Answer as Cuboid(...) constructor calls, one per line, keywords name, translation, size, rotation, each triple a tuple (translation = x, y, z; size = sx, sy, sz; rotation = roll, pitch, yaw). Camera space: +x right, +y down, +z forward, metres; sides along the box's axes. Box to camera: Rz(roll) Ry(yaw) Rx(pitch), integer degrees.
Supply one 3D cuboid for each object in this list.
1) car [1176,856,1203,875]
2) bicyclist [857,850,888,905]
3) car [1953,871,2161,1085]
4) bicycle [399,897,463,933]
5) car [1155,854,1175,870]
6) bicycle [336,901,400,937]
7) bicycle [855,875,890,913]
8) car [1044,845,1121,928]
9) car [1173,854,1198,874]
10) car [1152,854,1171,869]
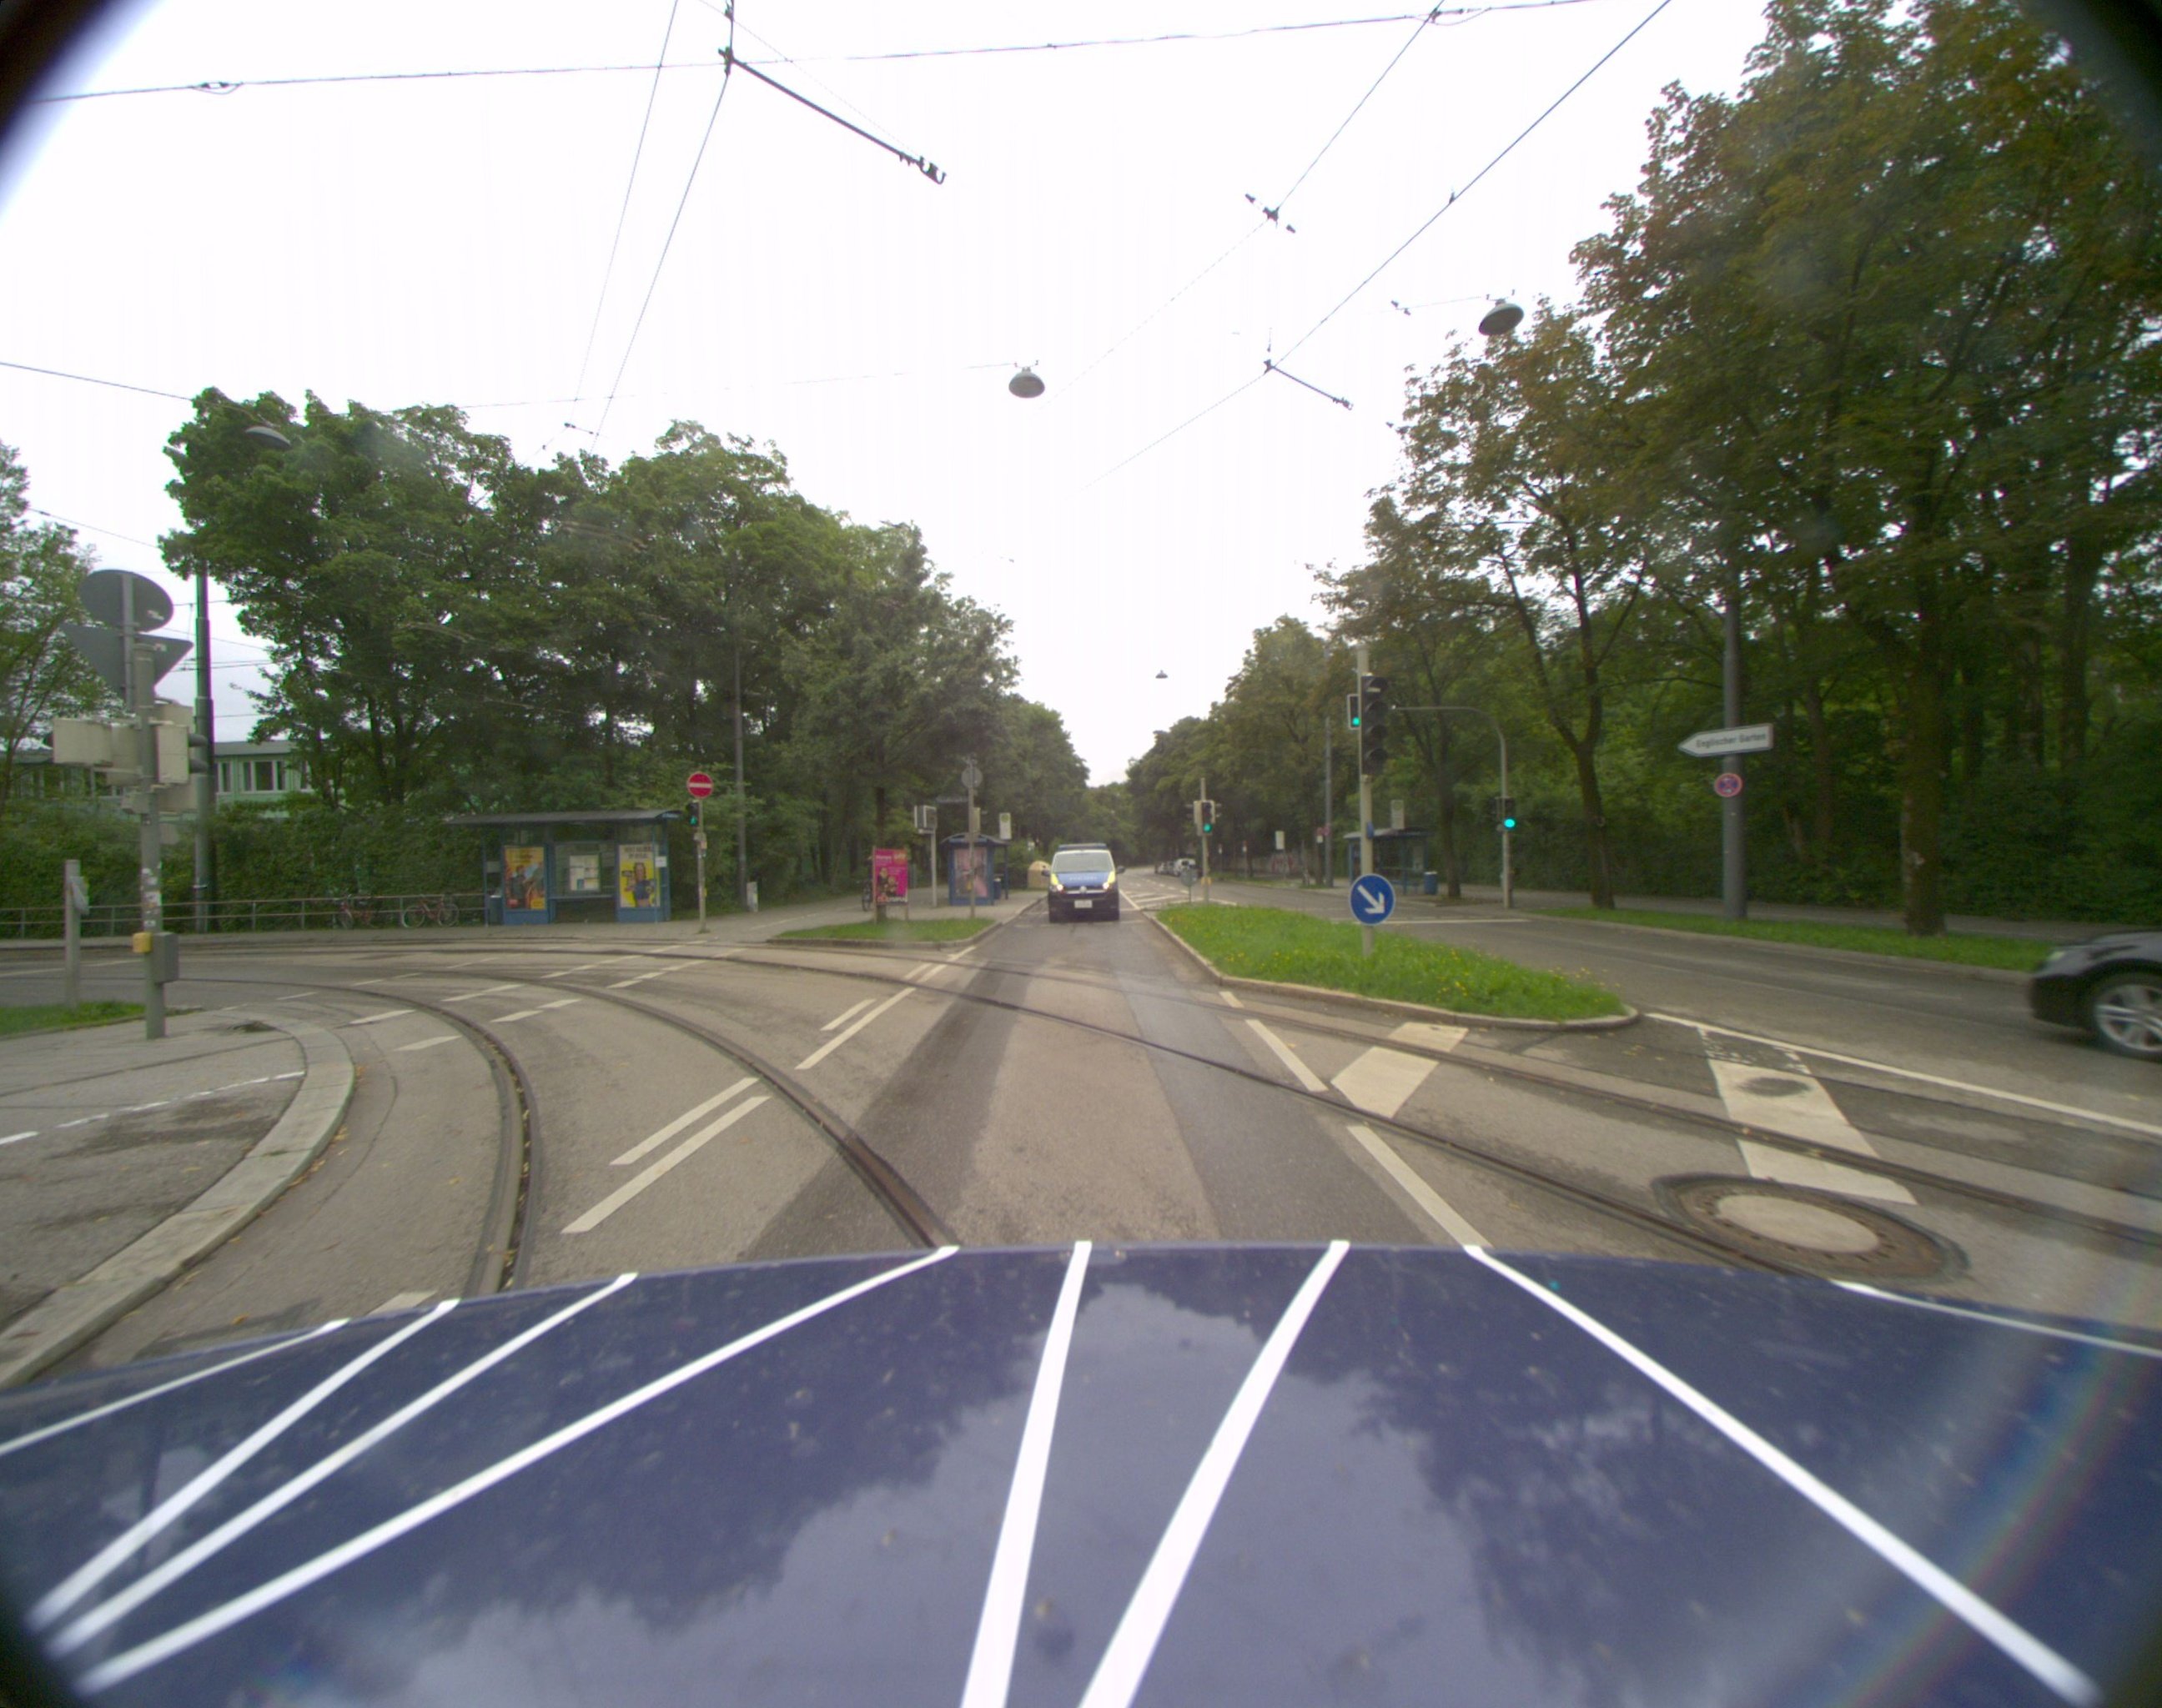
Cuboid(name="car", translation=(10.061, 1.022, 70.747), size=(1.888, 1.532, 3.999), rotation=(-3, 1, 0))
Cuboid(name="bicyclist", translation=(-6.861, 0.762, 25.043), size=(0.726, 1.719, 0.726), rotation=(-3, 1, 0))
Cuboid(name="car", translation=(7.944, 0.830, 3.746), size=(1.628, 1.380, 4.839), rotation=(0, 0, -2))
Cuboid(name="bicycle", translation=(-18.252, 1.717, 21.349), size=(1.483, 0.946, 0.373), rotation=(-2, 1, 4))
Cuboid(name="car", translation=(10.008, 0.964, 91.159), size=(1.888, 1.716, 3.999), rotation=(-3, 1, 0))
Cuboid(name="bicycle", translation=(-20.187, 1.831, 21.523), size=(1.483, 0.946, 0.373), rotation=(-2, 1, 4))
Cuboid(name="bicycle", translation=(-6.828, 1.296, 24.968), size=(0.580, 1.072, 1.912), rotation=(-3, 1, 0))
Cuboid(name="car", translation=(0.031, 0.802, 22.128), size=(1.903, 2.041, 5.707), rotation=(-1, 1, 0))
Cuboid(name="car", translation=(10.501, 0.977, 76.483), size=(1.888, 1.716, 3.999), rotation=(-3, 1, 0))
Cuboid(name="car", translation=(10.208, 0.878, 96.299), size=(1.888, 1.716, 3.999), rotation=(-3, 1, 0))
